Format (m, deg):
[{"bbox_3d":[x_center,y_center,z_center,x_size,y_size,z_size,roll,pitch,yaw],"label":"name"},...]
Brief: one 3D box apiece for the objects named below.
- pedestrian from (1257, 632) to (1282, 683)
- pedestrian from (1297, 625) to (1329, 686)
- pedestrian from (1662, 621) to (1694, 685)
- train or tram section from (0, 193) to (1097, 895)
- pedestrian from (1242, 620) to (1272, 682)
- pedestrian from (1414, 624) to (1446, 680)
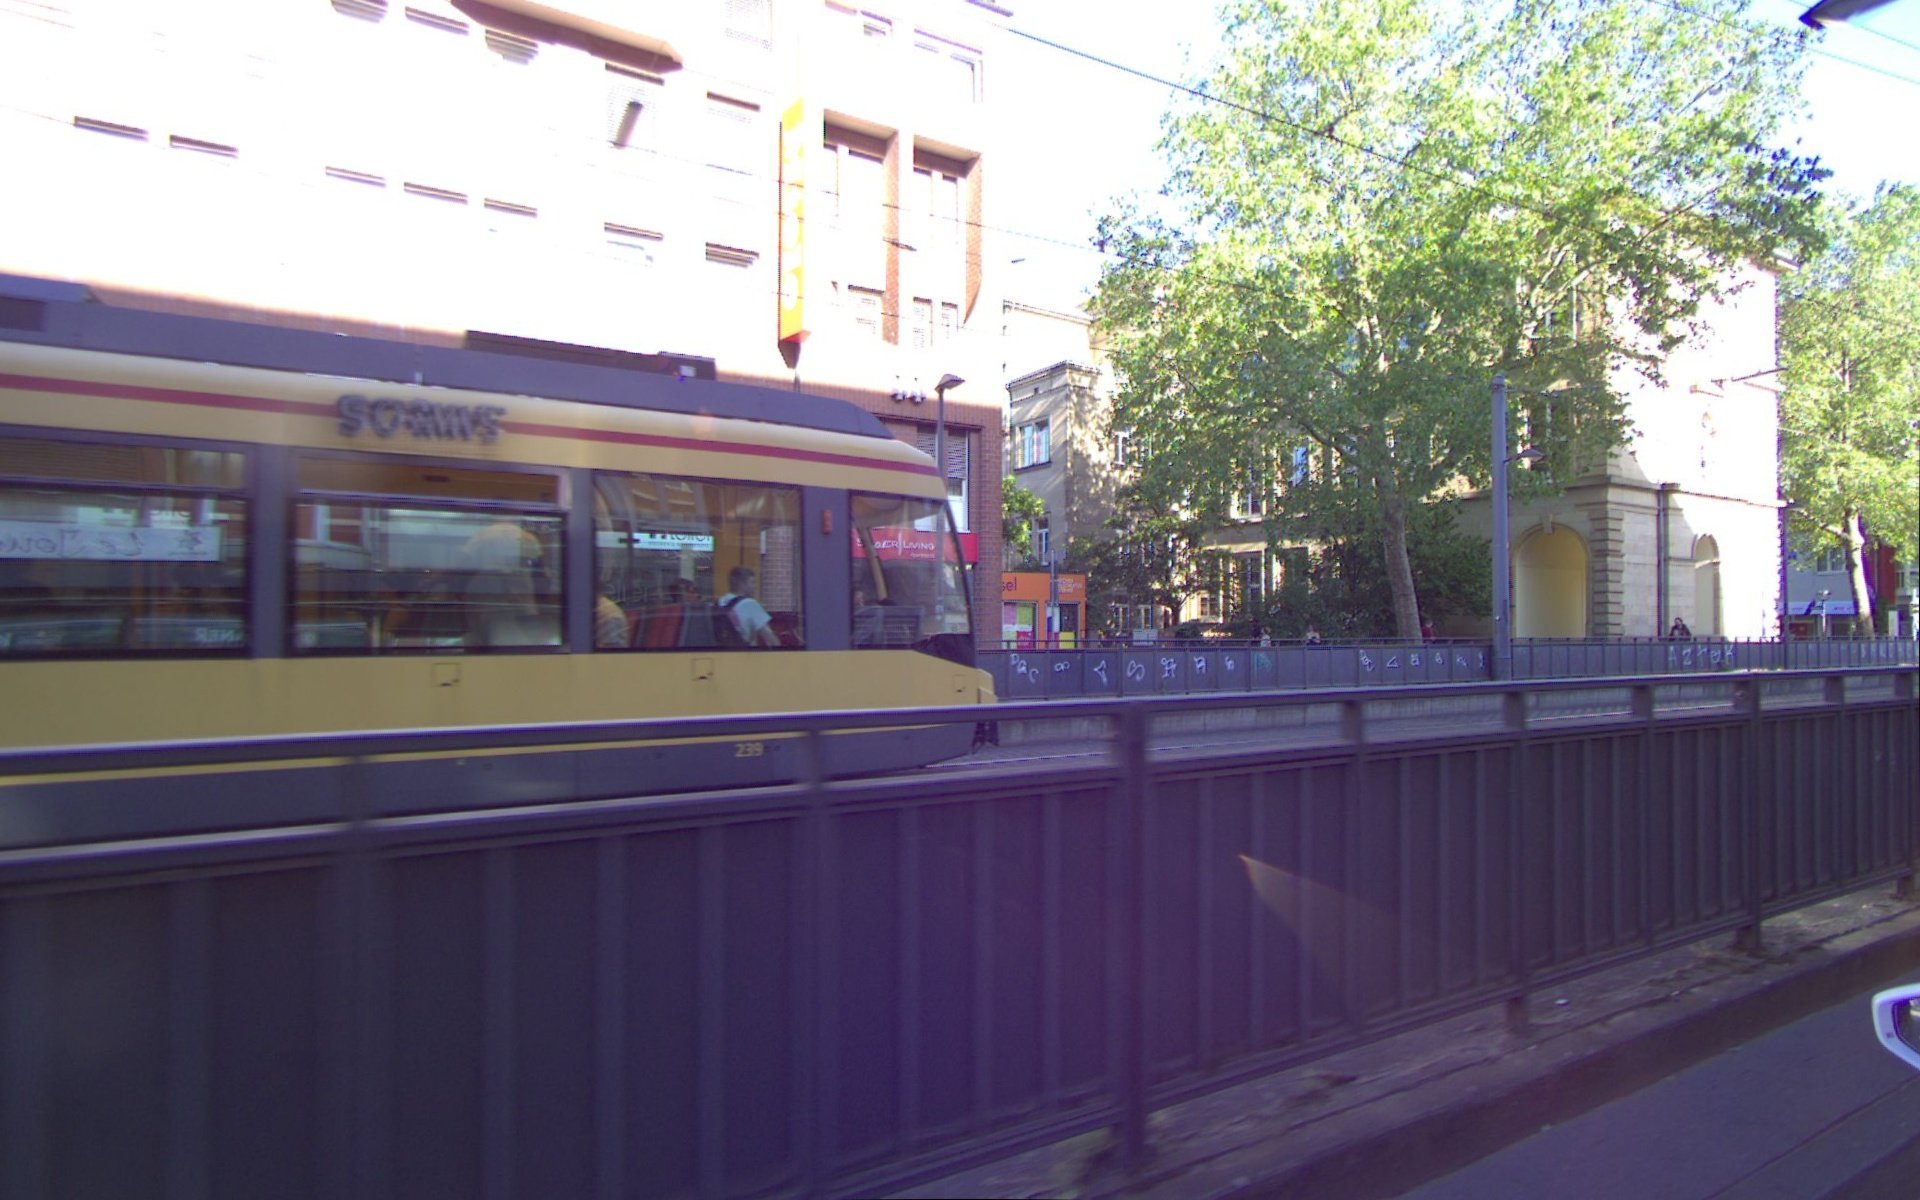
[{"bbox_3d":[9.548,1.760,30.958,0.468,1.550,0.581,1,-1,-29],"label":"pedestrian"},{"bbox_3d":[10.792,1.685,30.737,0.640,1.830,0.684,1,-1,-29],"label":"pedestrian"},{"bbox_3d":[23.091,1.699,32.331,0.675,2.040,0.703,0,-1,20],"label":"pedestrian"},{"bbox_3d":[-6.570,-0.307,6.115,16.288,3.693,2.960,0,0,-30],"label":"train or tram section"},{"bbox_3d":[9.349,1.602,31.617,0.618,1.906,0.704,1,-1,-26],"label":"pedestrian"},{"bbox_3d":[14.944,1.655,31.953,0.607,1.735,0.675,-1,0,-31],"label":"pedestrian"}]
